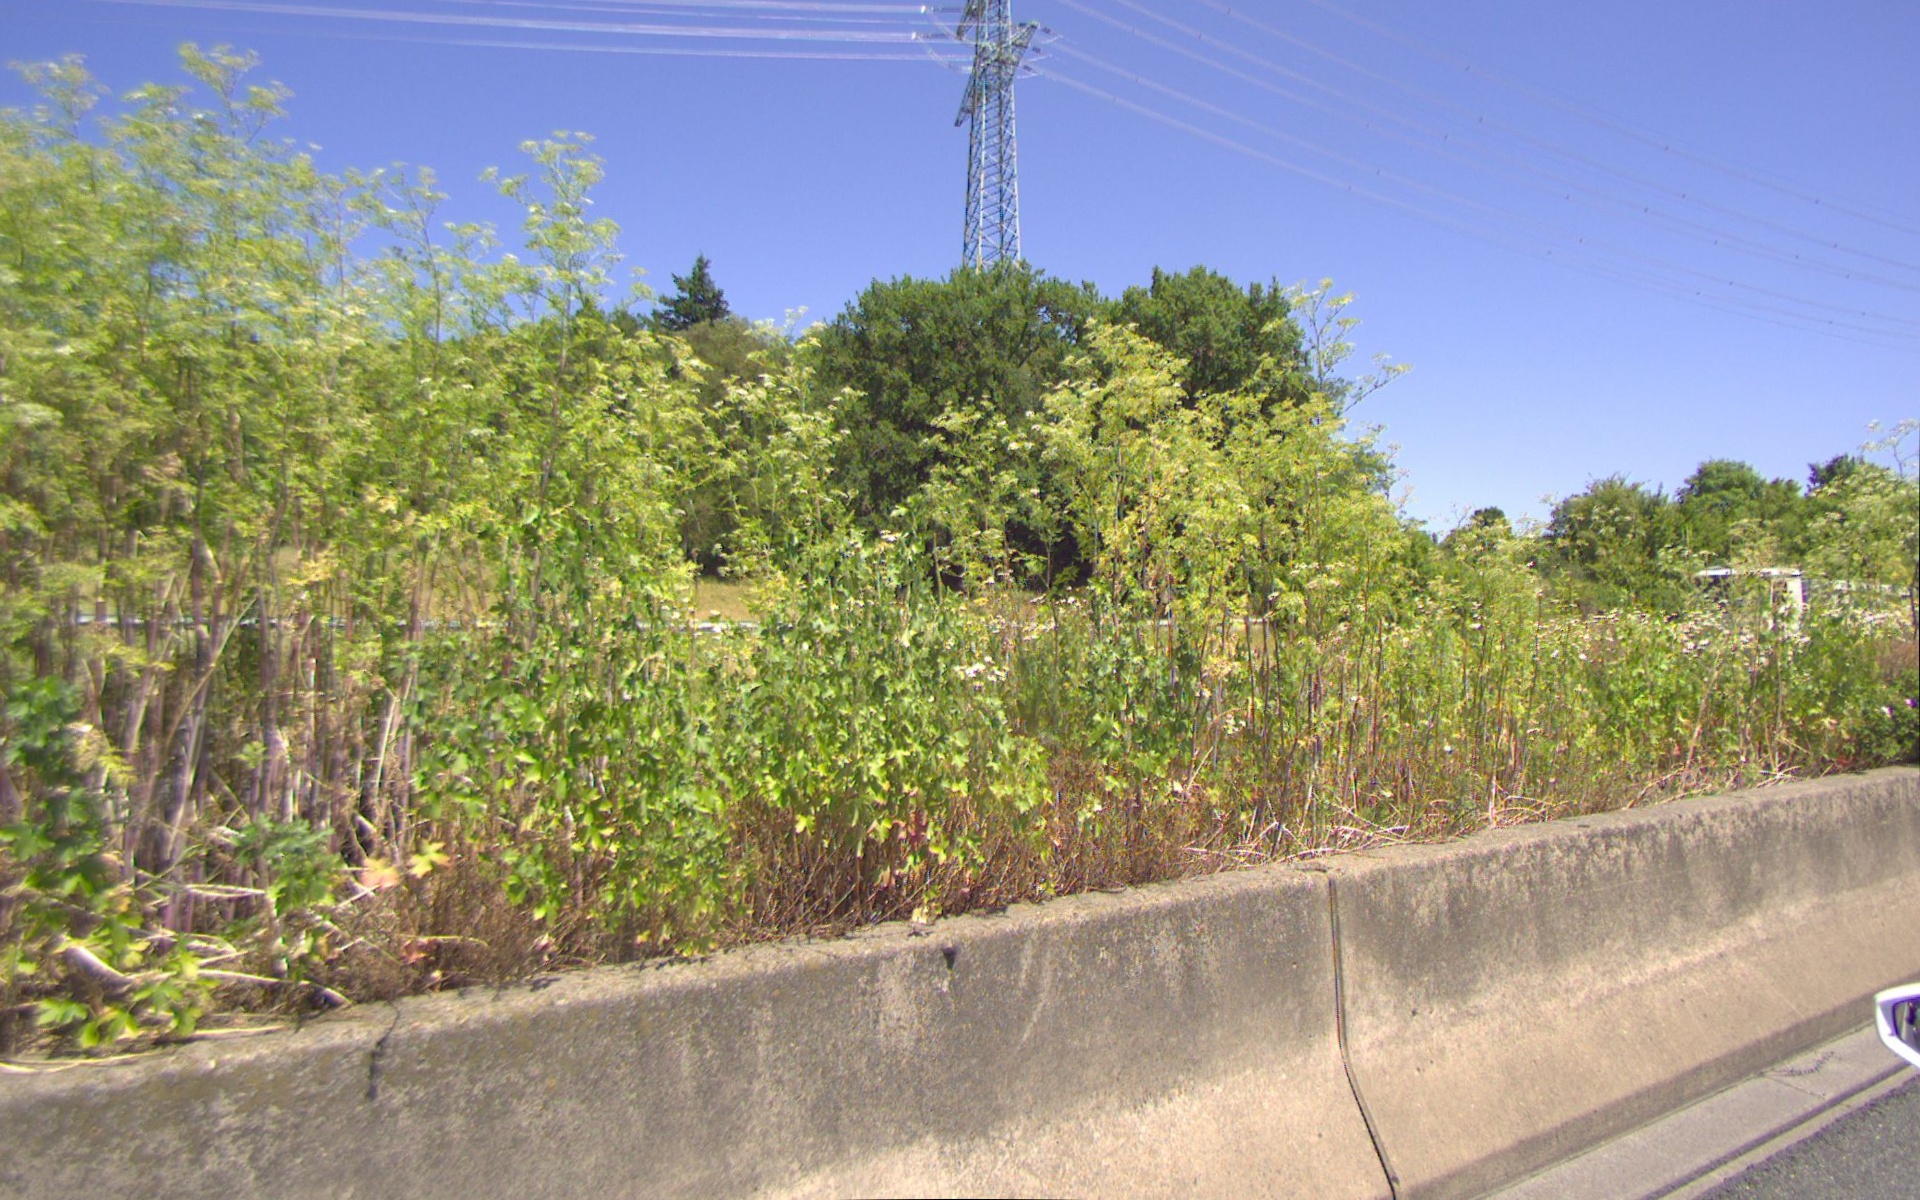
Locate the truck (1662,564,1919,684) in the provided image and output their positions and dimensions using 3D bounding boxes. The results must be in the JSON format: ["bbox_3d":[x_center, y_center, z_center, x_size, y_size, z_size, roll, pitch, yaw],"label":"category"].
[{"bbox_3d":[26.961,0.823,31.948,11.674,3.332,2.753,2,-1,-29],"label":"truck"}]
